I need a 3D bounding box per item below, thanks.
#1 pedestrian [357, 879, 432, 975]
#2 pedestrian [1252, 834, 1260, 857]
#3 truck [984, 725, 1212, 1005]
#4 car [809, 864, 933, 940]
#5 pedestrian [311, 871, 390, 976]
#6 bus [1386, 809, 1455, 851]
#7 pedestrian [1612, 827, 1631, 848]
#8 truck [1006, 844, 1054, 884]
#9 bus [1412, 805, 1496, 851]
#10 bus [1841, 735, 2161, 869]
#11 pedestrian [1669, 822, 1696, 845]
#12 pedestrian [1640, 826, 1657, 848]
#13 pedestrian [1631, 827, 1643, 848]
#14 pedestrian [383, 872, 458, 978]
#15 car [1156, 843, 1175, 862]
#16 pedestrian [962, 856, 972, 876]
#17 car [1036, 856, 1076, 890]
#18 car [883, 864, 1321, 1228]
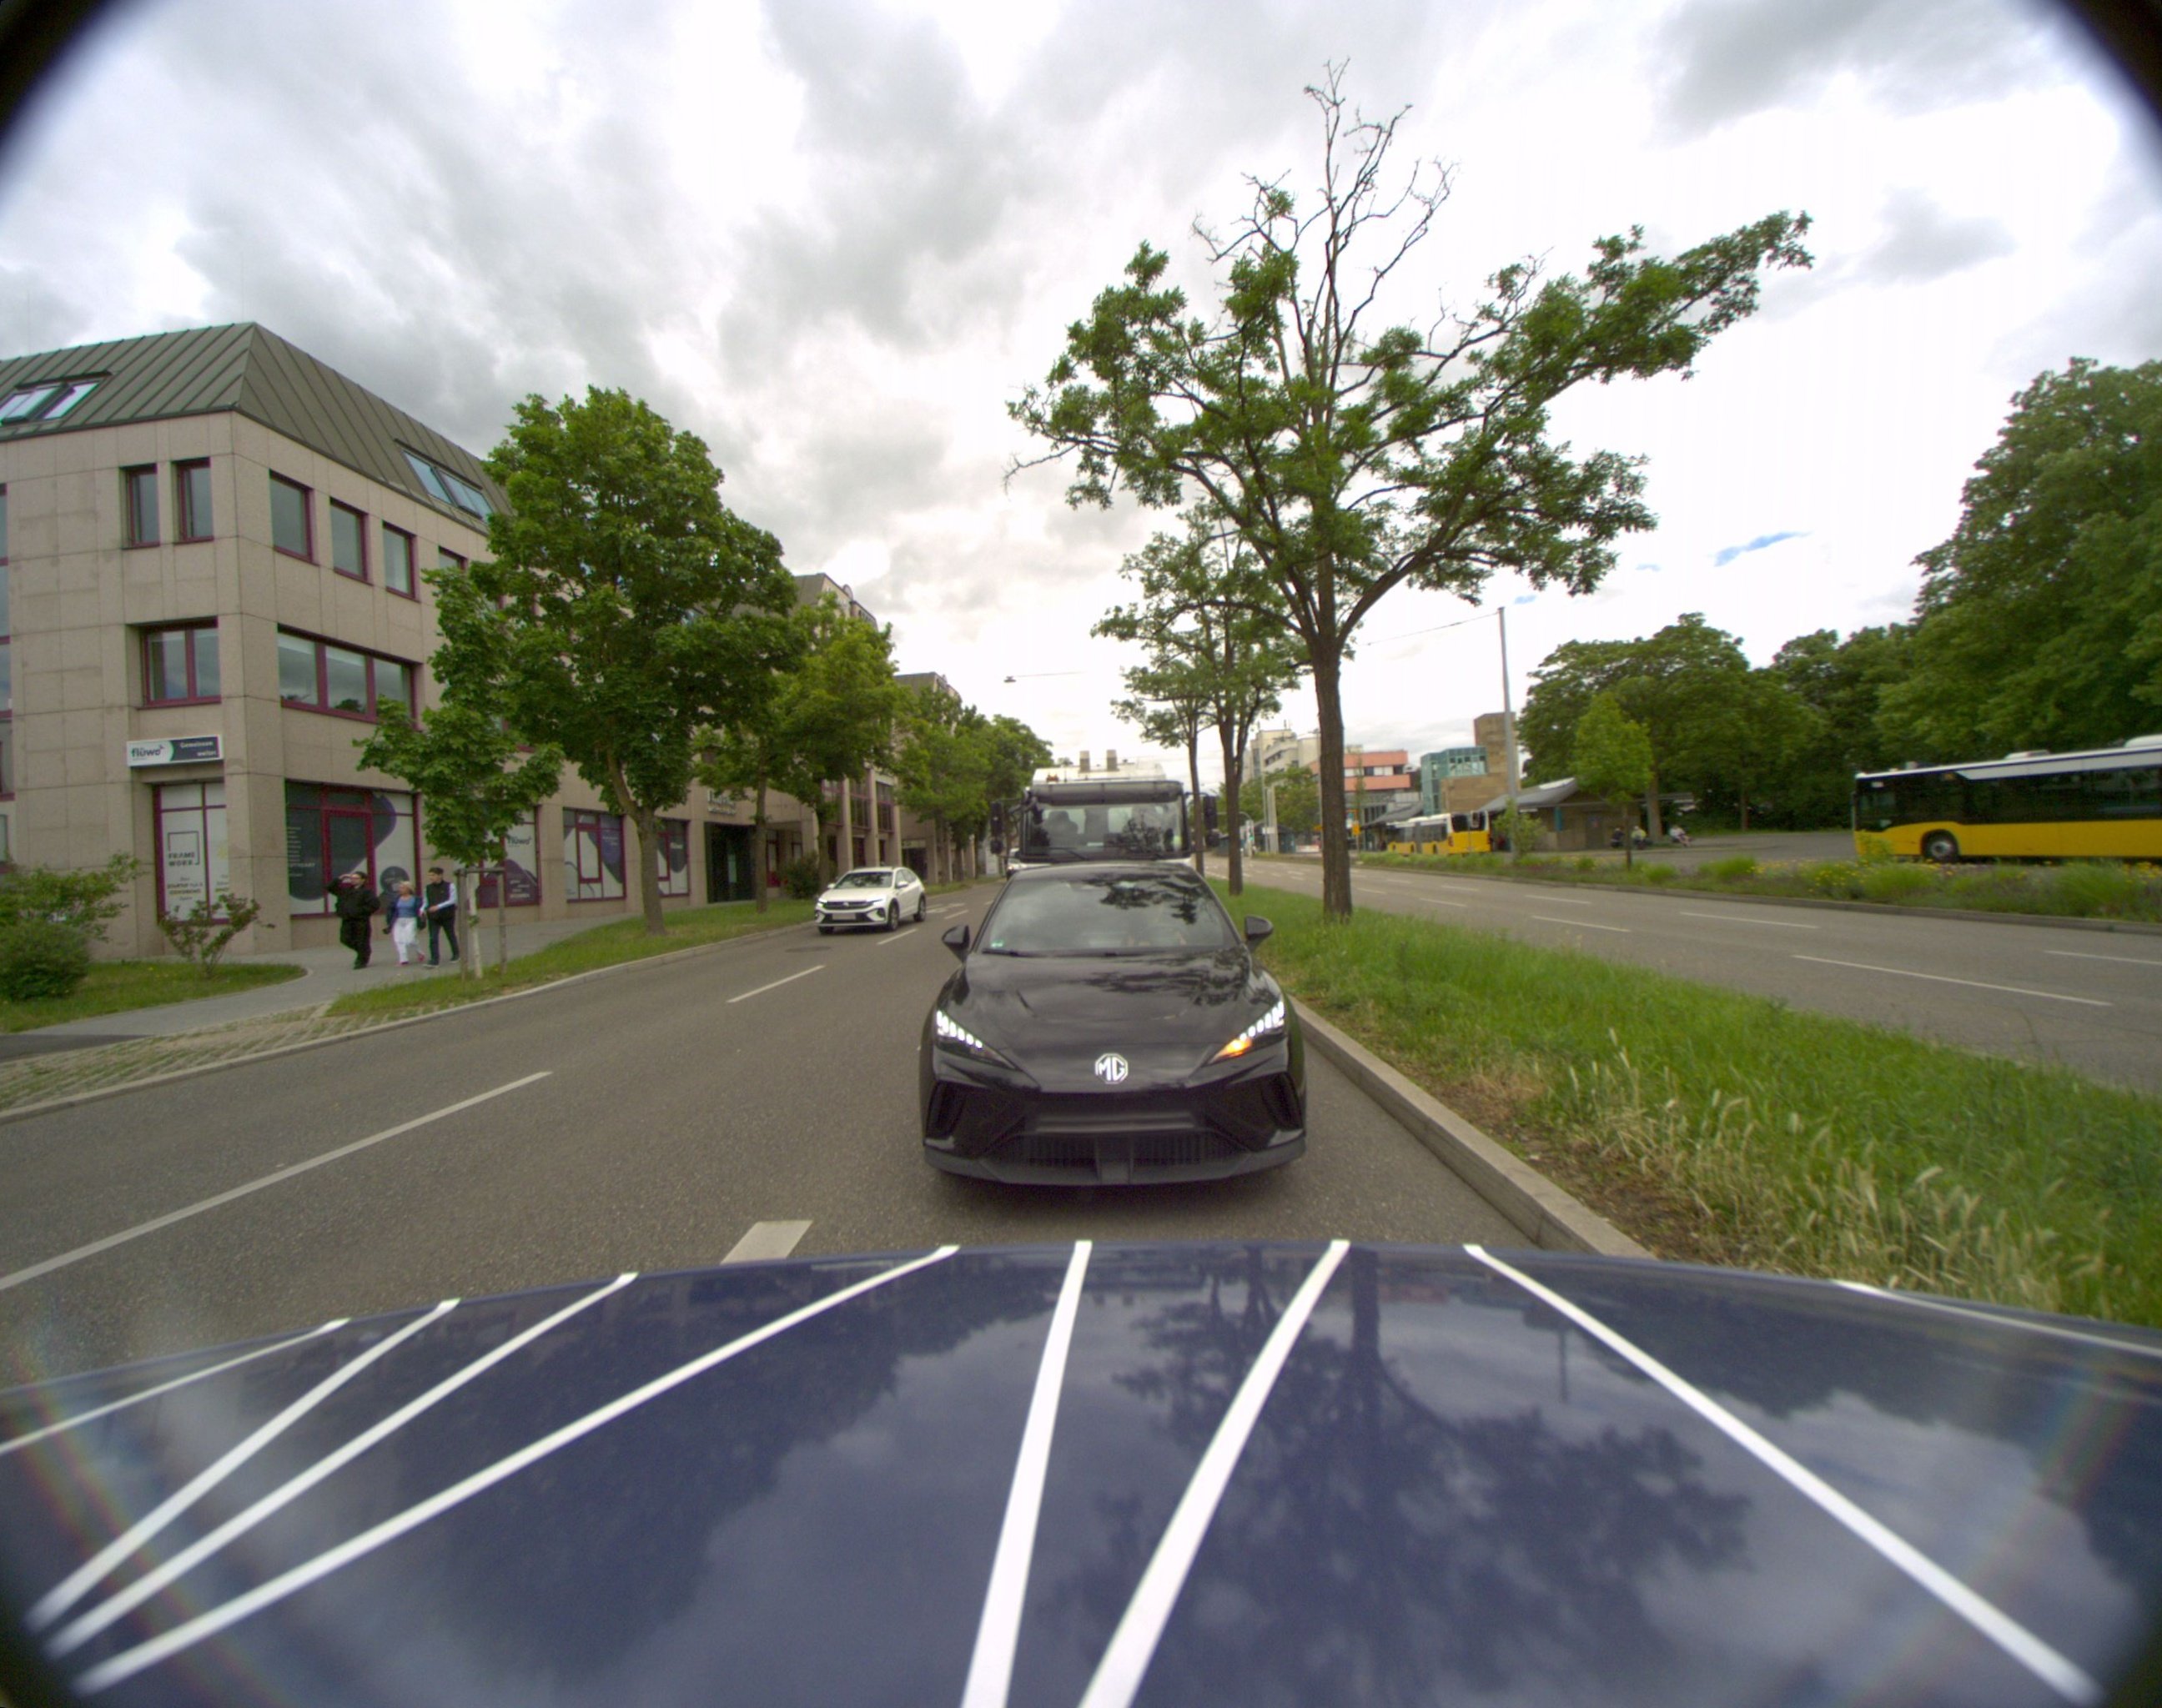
[{"bbox_3d":[-12.387,1.294,13.728,0.642,1.637,0.677,-3,1,1],"label":"pedestrian"},{"bbox_3d":[21.364,-1.031,92.872,0.903,2.772,1.148,-2,1,13],"label":"pedestrian"},{"bbox_3d":[0.315,0.126,12.630,2.544,3.187,7.369,-3,0,2],"label":"truck"},{"bbox_3d":[-5.028,1.096,18.781,1.719,1.546,4.090,-2,0,3],"label":"car"},{"bbox_3d":[-13.061,1.224,13.606,0.642,1.795,0.677,-3,1,1],"label":"pedestrian"},{"bbox_3d":[27.616,-1.866,62.309,2.887,2.985,9.182,-3,0,10],"label":"bus"},{"bbox_3d":[30.725,-0.937,43.206,0.599,1.155,0.743,-2,1,13],"label":"pedestrian"},{"bbox_3d":[-3.052,0.549,46.749,2.216,2.191,5.844,-3,1,3],"label":"truck"},{"bbox_3d":[25.975,-1.703,53.466,2.887,2.793,9.182,-3,0,11],"label":"bus"},{"bbox_3d":[25.920,-1.241,19.620,2.888,2.985,10.397,-3,0,6],"label":"bus"},{"bbox_3d":[31.945,-1.088,40.361,0.650,1.165,0.925,-2,1,1],"label":"pedestrian"},{"bbox_3d":[30.614,-0.908,40.996,0.598,1.155,0.744,-2,1,26],"label":"pedestrian"},{"bbox_3d":[30.202,-0.896,41.303,0.367,1.160,0.899,-2,1,26],"label":"pedestrian"},{"bbox_3d":[-11.749,1.246,13.531,0.642,1.795,0.677,-3,1,1],"label":"pedestrian"},{"bbox_3d":[9.430,-0.163,84.910,1.726,2.002,4.001,-3,0,3],"label":"car"},{"bbox_3d":[-9.904,1.031,66.086,0.719,1.737,0.832,-2,1,-1],"label":"pedestrian"},{"bbox_3d":[-1.183,0.917,37.738,1.720,1.549,3.858,-1,0,1],"label":"car"},{"bbox_3d":[0.116,0.863,5.281,1.827,1.430,4.000,-3,0,1],"label":"car"}]
